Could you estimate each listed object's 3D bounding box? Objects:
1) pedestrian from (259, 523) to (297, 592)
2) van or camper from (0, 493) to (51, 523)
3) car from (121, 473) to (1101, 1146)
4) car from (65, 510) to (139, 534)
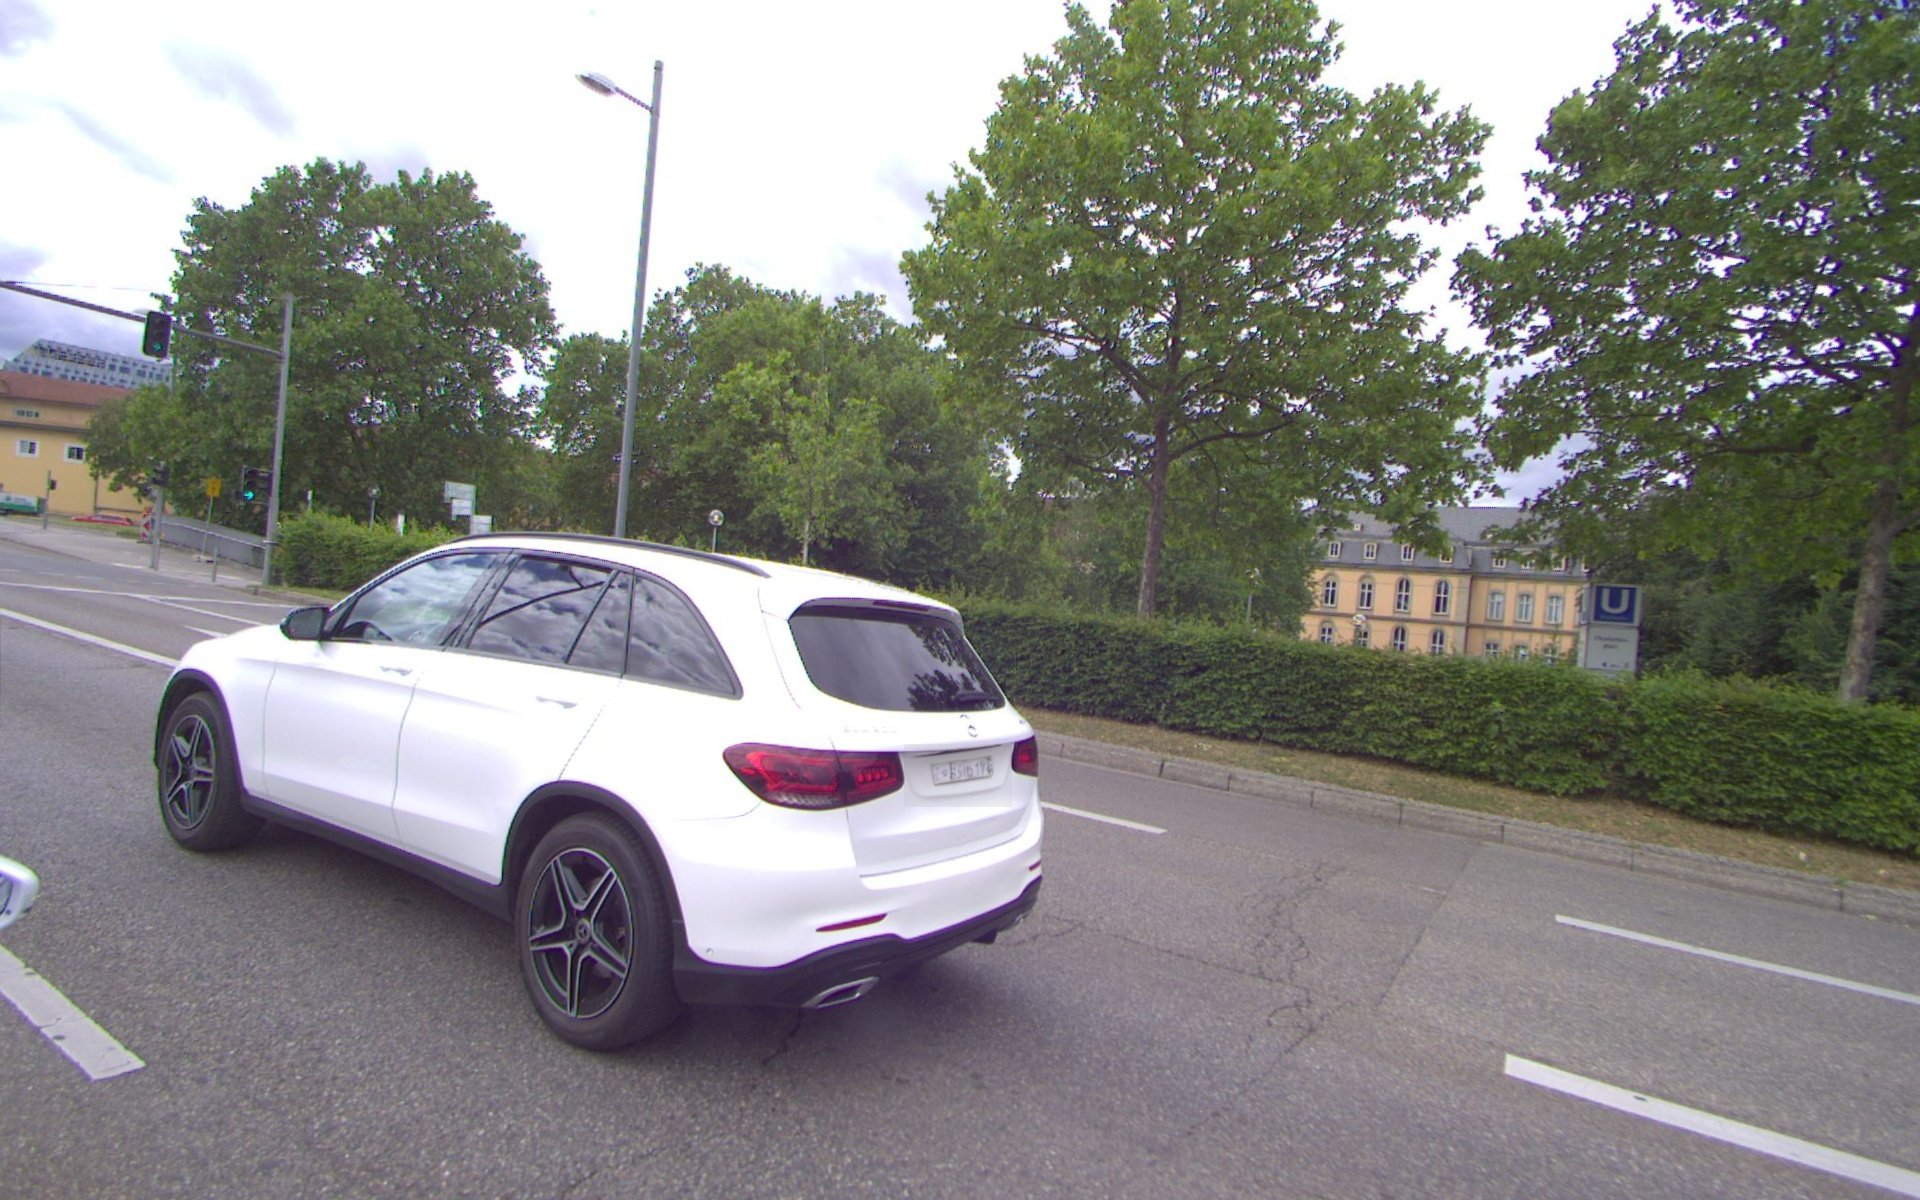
[{"bbox_3d":[-18.481,-1.146,27.266,0.610,1.785,0.479,7,0,29],"label":"pedestrian"},{"bbox_3d":[-82.814,-8.181,86.881,5.944,2.038,2.009,7,-1,-23],"label":"van or camper"},{"bbox_3d":[-1.786,0.491,4.611,4.307,1.667,1.821,7,0,32],"label":"car"},{"bbox_3d":[-76.537,-6.950,89.785,4.636,1.437,1.586,7,-1,-27],"label":"car"}]
